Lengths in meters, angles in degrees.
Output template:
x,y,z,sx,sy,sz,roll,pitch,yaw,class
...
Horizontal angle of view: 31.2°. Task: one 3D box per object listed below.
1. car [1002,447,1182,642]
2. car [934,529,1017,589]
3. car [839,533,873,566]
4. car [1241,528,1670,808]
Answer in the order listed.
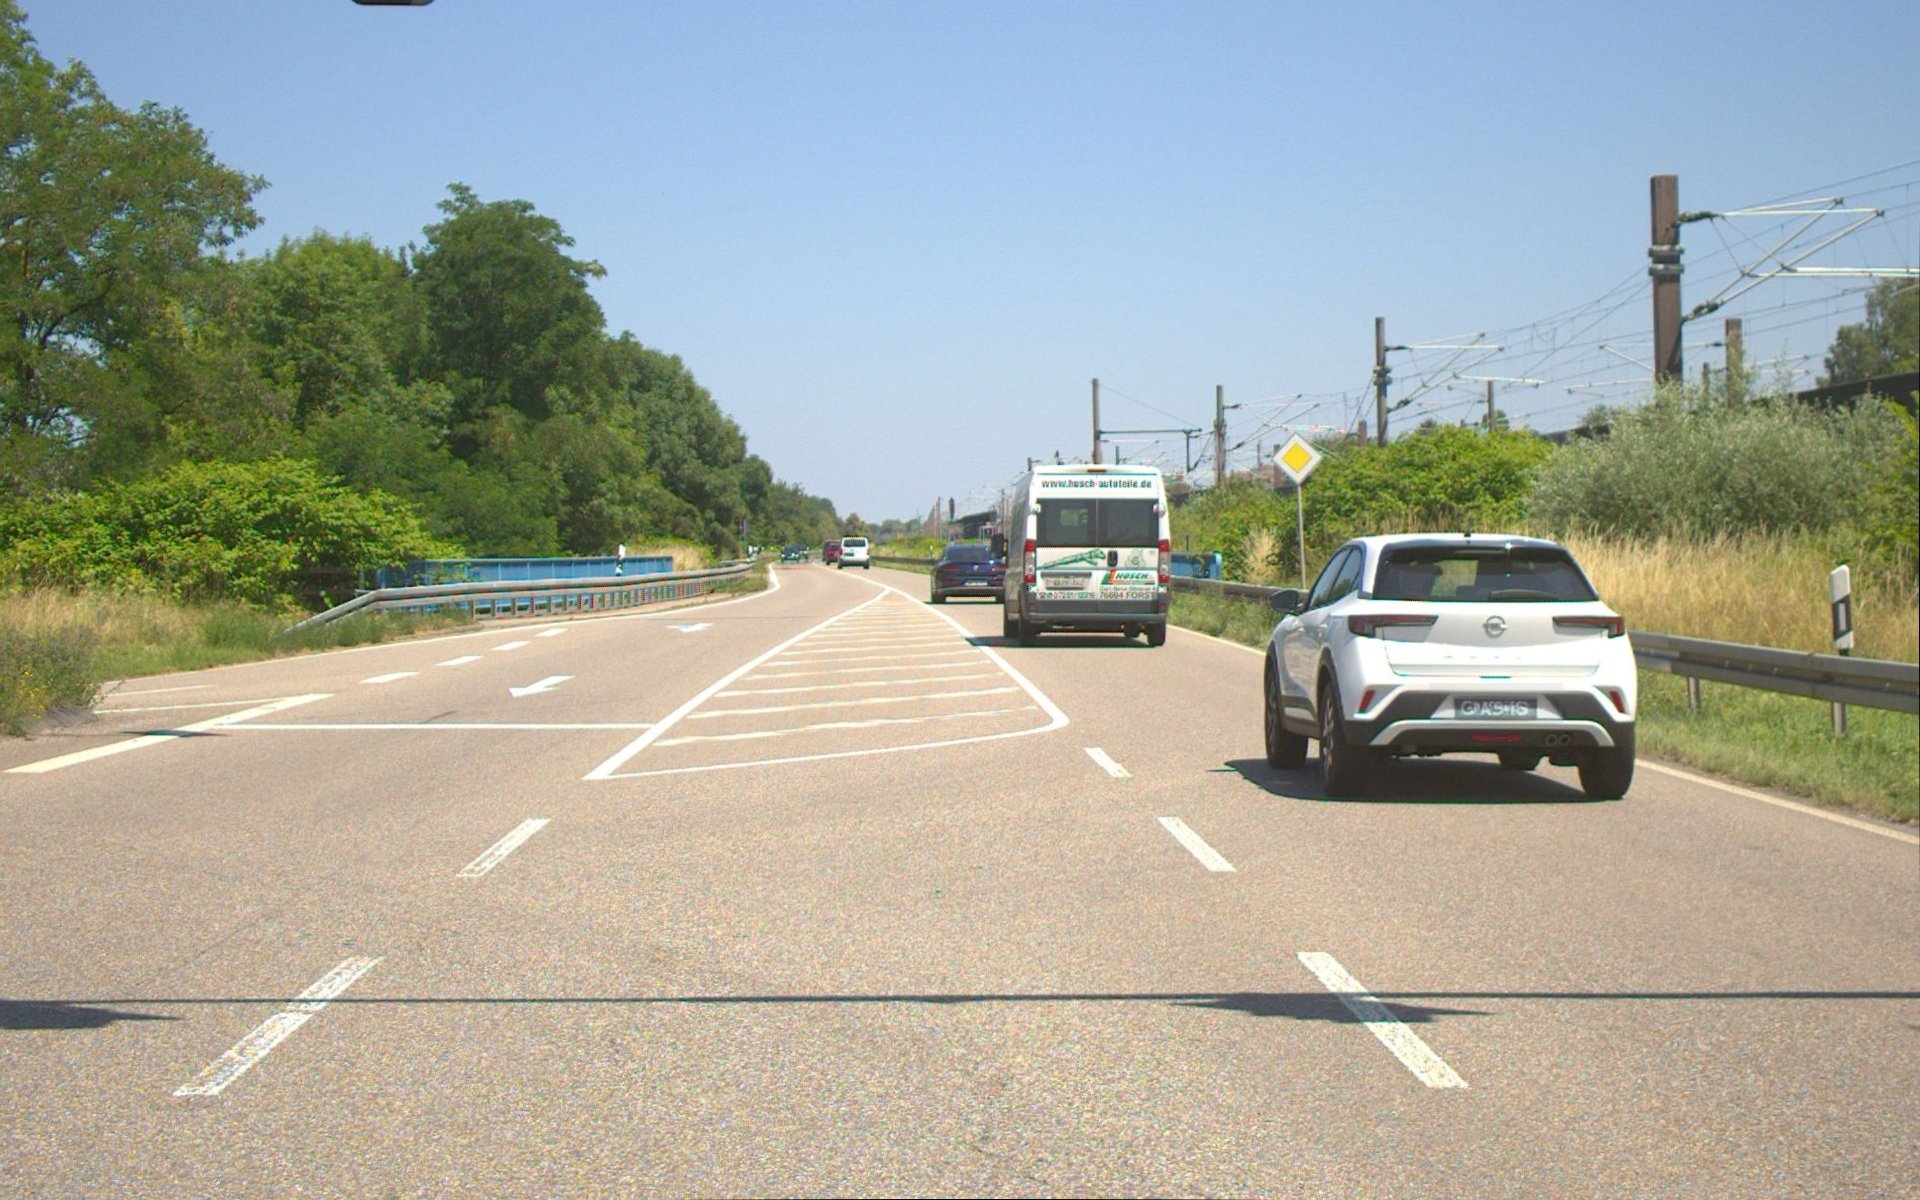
x,y,z,sx,sy,sz,roll,pitch,yaw,class
1.815,-0.820,49.574,2.188,2.595,6.751,1,1,-1,car
0.347,-0.997,82.686,1.856,1.375,4.504,1,1,-1,car
-6.461,-3.134,213.211,1.993,1.977,4.060,1,1,-2,car
2.939,0.338,21.312,1.817,1.558,4.279,0,1,-3,car
